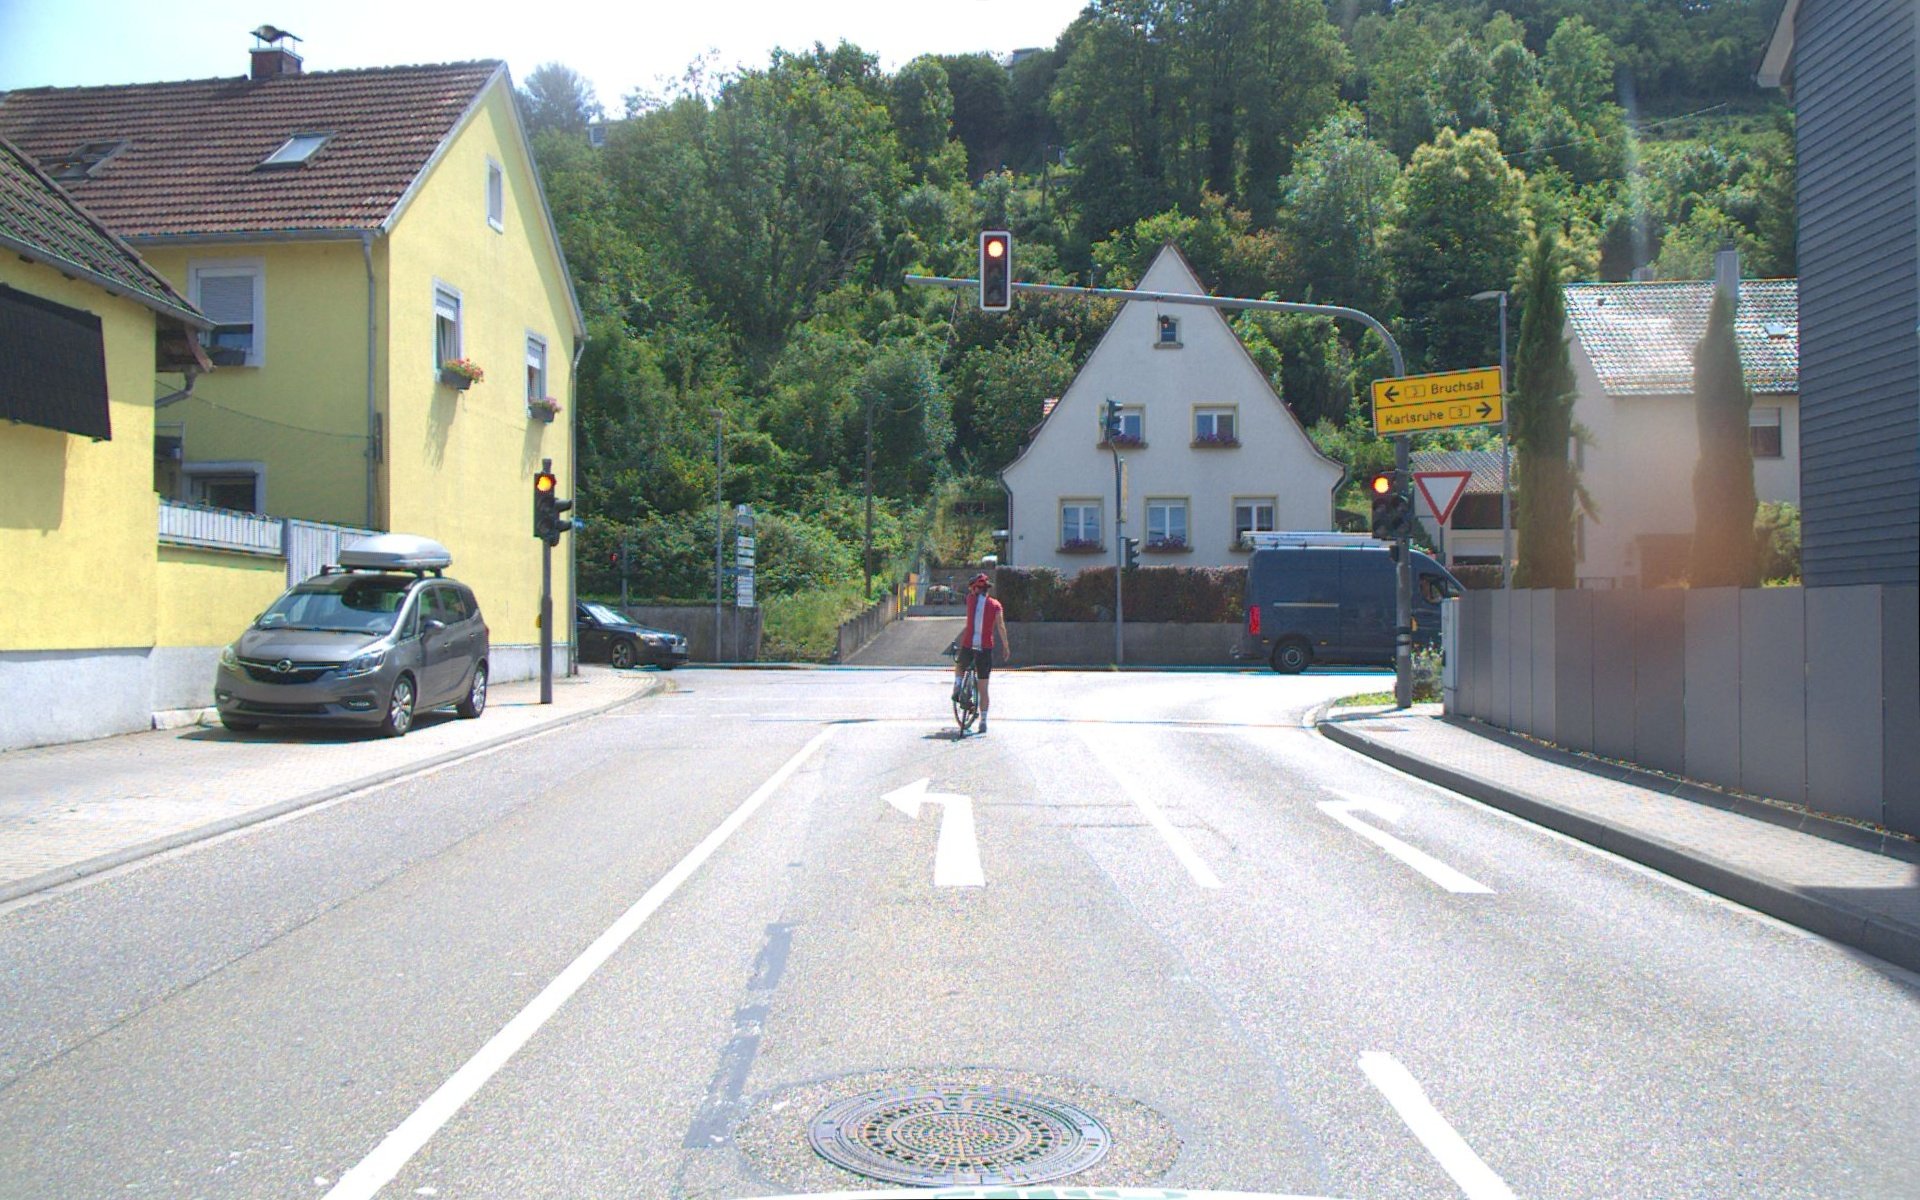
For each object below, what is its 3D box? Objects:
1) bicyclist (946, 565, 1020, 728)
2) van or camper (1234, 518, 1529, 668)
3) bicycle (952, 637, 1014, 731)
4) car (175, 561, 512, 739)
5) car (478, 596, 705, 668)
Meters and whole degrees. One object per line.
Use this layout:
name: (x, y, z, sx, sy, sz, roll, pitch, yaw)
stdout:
bicyclist: (0.249, 0.490, 17.878, 0.745, 1.693, 0.868, 1, 0, 0)
van or camper: (8.845, -0.149, 35.211, 5.865, 3.057, 2.220, 0, -1, 8)
bicycle: (0.244, 0.890, 17.902, 0.617, 0.920, 1.657, 1, 0, 0)
car: (-6.587, 0.486, 18.314, 1.953, 1.664, 4.630, 2, 0, 0)
car: (-8.063, 0.704, 36.233, 4.559, 1.467, 1.870, -1, 0, 21)
